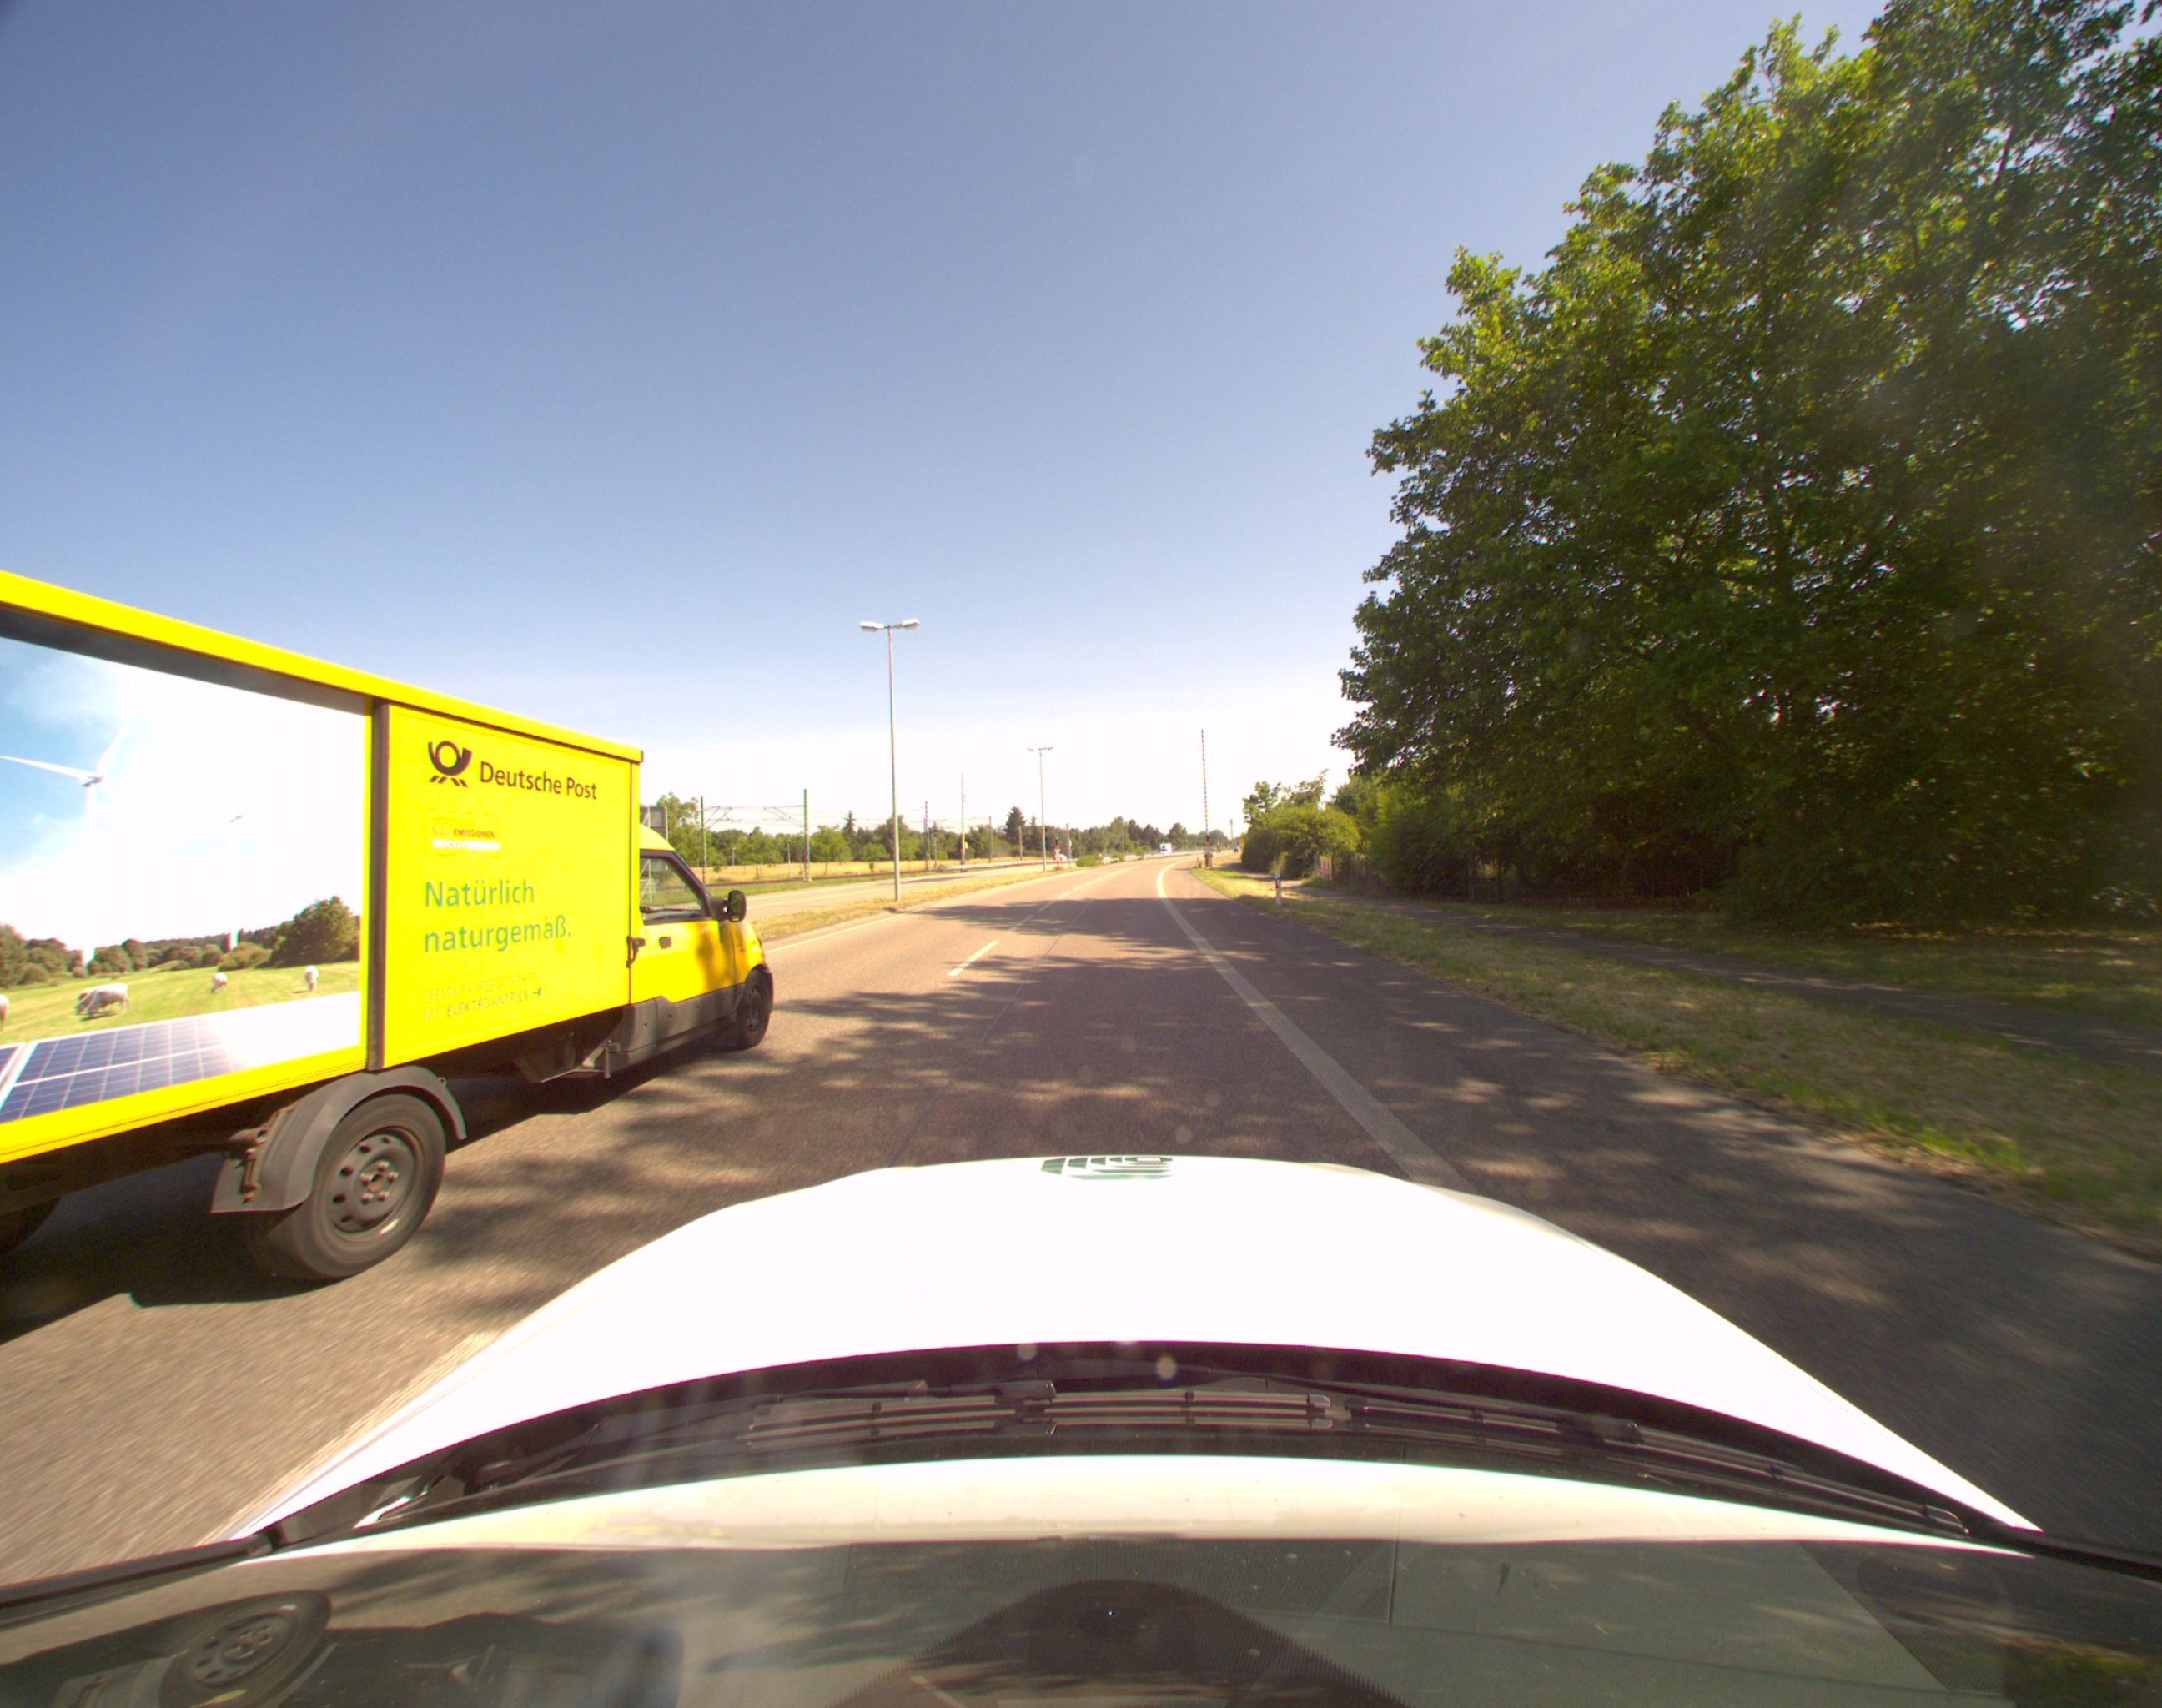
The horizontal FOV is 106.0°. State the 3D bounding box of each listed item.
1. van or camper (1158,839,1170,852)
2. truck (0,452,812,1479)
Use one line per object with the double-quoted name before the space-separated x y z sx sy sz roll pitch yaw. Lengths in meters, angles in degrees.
"van or camper" 24.808 -2.620 242.700 2.866 3.680 8.647 -2 0 2
"truck" -3.563 0.271 4.282 2.104 2.457 5.919 -1 0 2
